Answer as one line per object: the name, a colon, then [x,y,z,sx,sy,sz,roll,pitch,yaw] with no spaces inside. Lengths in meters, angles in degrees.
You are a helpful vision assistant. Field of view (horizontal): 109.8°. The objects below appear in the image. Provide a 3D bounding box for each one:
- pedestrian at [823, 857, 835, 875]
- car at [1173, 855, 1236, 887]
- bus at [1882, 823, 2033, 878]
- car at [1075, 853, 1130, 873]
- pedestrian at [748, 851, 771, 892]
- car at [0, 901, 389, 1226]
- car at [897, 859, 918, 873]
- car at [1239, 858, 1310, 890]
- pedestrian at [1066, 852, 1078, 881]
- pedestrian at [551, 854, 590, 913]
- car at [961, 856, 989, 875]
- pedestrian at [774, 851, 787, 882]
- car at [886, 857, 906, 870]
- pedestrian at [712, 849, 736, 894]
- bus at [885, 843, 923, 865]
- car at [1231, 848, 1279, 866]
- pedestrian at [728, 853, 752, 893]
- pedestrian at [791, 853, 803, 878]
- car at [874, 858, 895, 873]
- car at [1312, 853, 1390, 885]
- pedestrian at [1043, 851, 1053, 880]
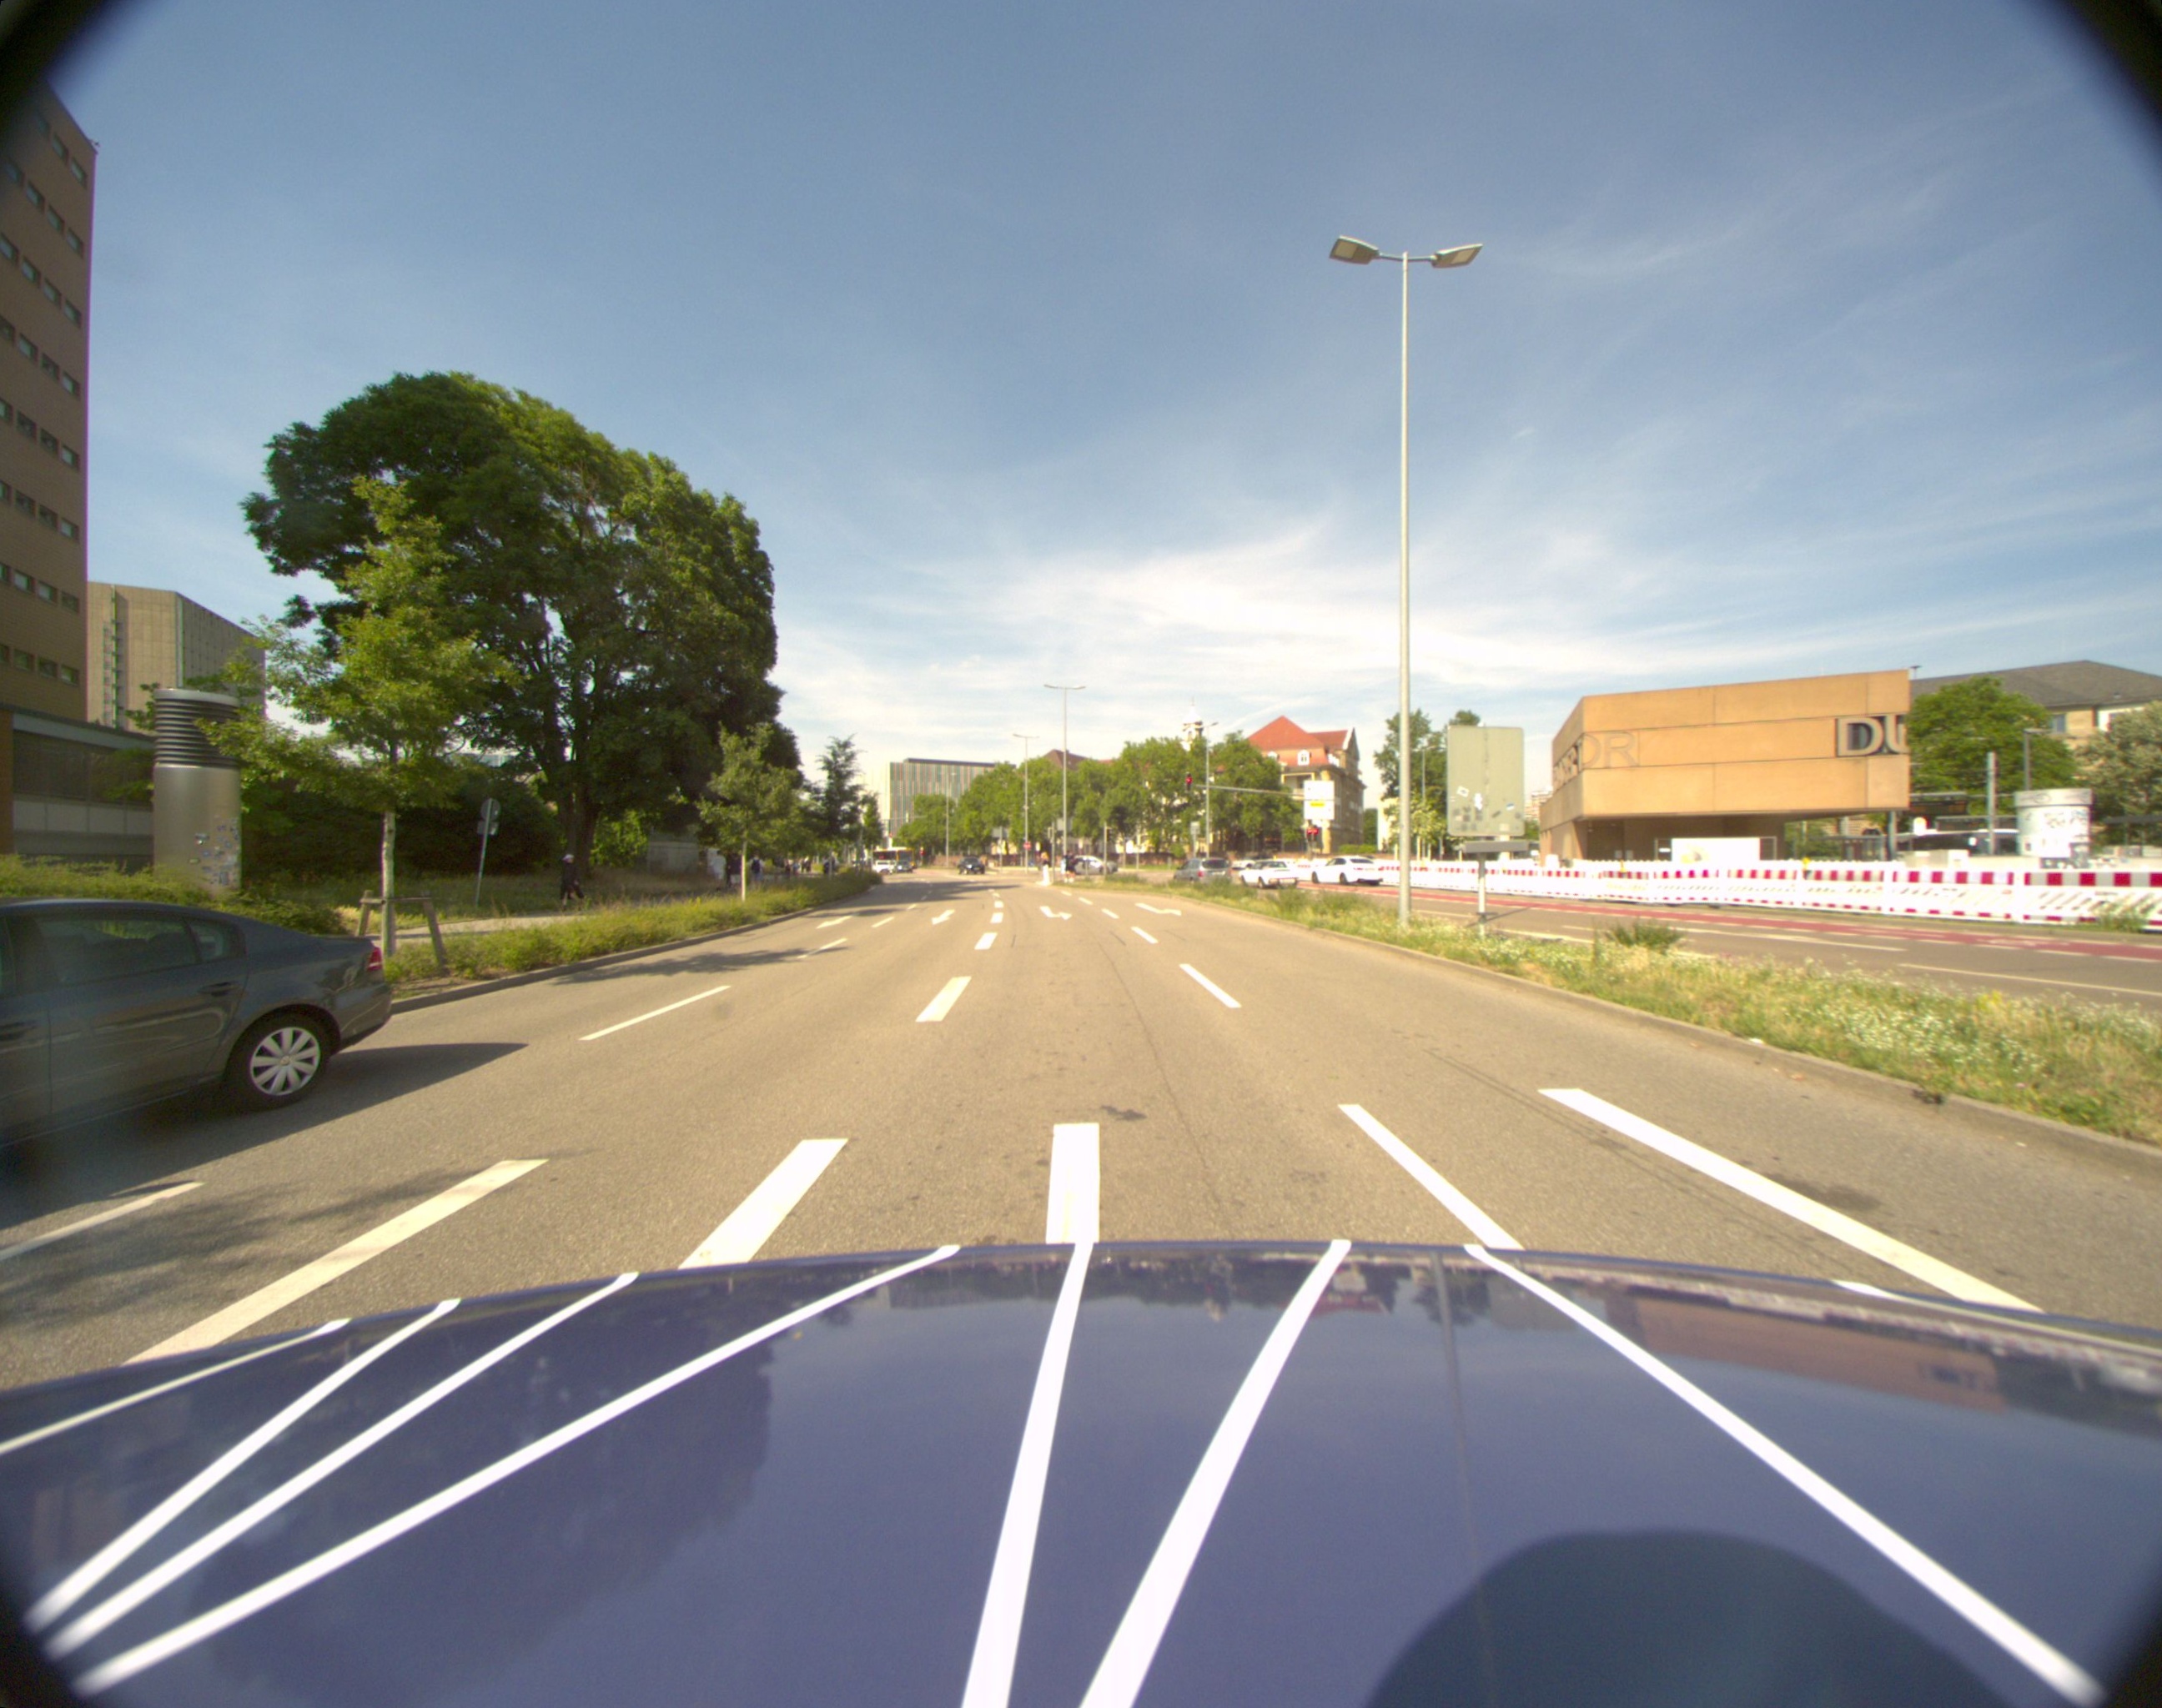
pedestrian: [-15.699,0.748,47.313,0.644,1.125,0.751,1,1,-15]
car: [5.651,0.745,35.226,1.600,1.279,3.996,-2,1,-10]
bus: [59.540,-0.221,52.128,2.751,3.303,11.811,0,0,28]
car: [1.705,0.696,60.273,4.092,1.427,1.835,-2,1,9]
pedestrian: [-13.465,0.720,31.853,0.643,1.664,0.752,1,1,0]
car: [-6.069,1.110,3.479,1.635,1.427,4.528,-1,1,-1]
car: [-19.573,1.318,85.588,1.653,1.416,4.112,-3,1,-22]
car: [8.787,0.894,34.858,1.600,1.279,3.996,-2,1,-10]
pedestrian: [-0.530,0.721,44.634,0.643,1.664,0.752,0,0,1]
pedestrian: [-14.532,0.827,21.632,0.592,1.654,0.731,1,1,1]
car: [-10.135,1.085,72.655,1.761,1.719,4.106,-3,1,-20]
pedestrian: [-17.191,0.687,43.458,0.644,1.754,0.474,1,1,-20]
car: [-22.174,1.139,90.933,1.653,1.416,4.112,-3,1,-22]
pedestrian: [-14.738,0.698,31.395,0.643,1.827,0.731,1,1,1]
bus: [-26.185,0.073,111.836,2.801,3.020,12.122,0,0,-27]
car: [15.860,0.248,69.292,4.118,1.435,1.755,-3,1,-28]
pedestrian: [-14.079,0.776,31.389,0.643,1.617,0.731,1,1,1]
pedestrian: [-16.383,0.664,43.783,0.644,1.438,0.568,1,1,-20]
car: [-20.517,1.137,79.293,1.684,1.466,3.753,-3,1,-20]
car: [13.108,0.695,37.111,1.804,1.412,3.996,-2,1,-10]
pedestrian: [-1.881,0.653,43.778,0.541,1.664,0.752,0,0,1]
